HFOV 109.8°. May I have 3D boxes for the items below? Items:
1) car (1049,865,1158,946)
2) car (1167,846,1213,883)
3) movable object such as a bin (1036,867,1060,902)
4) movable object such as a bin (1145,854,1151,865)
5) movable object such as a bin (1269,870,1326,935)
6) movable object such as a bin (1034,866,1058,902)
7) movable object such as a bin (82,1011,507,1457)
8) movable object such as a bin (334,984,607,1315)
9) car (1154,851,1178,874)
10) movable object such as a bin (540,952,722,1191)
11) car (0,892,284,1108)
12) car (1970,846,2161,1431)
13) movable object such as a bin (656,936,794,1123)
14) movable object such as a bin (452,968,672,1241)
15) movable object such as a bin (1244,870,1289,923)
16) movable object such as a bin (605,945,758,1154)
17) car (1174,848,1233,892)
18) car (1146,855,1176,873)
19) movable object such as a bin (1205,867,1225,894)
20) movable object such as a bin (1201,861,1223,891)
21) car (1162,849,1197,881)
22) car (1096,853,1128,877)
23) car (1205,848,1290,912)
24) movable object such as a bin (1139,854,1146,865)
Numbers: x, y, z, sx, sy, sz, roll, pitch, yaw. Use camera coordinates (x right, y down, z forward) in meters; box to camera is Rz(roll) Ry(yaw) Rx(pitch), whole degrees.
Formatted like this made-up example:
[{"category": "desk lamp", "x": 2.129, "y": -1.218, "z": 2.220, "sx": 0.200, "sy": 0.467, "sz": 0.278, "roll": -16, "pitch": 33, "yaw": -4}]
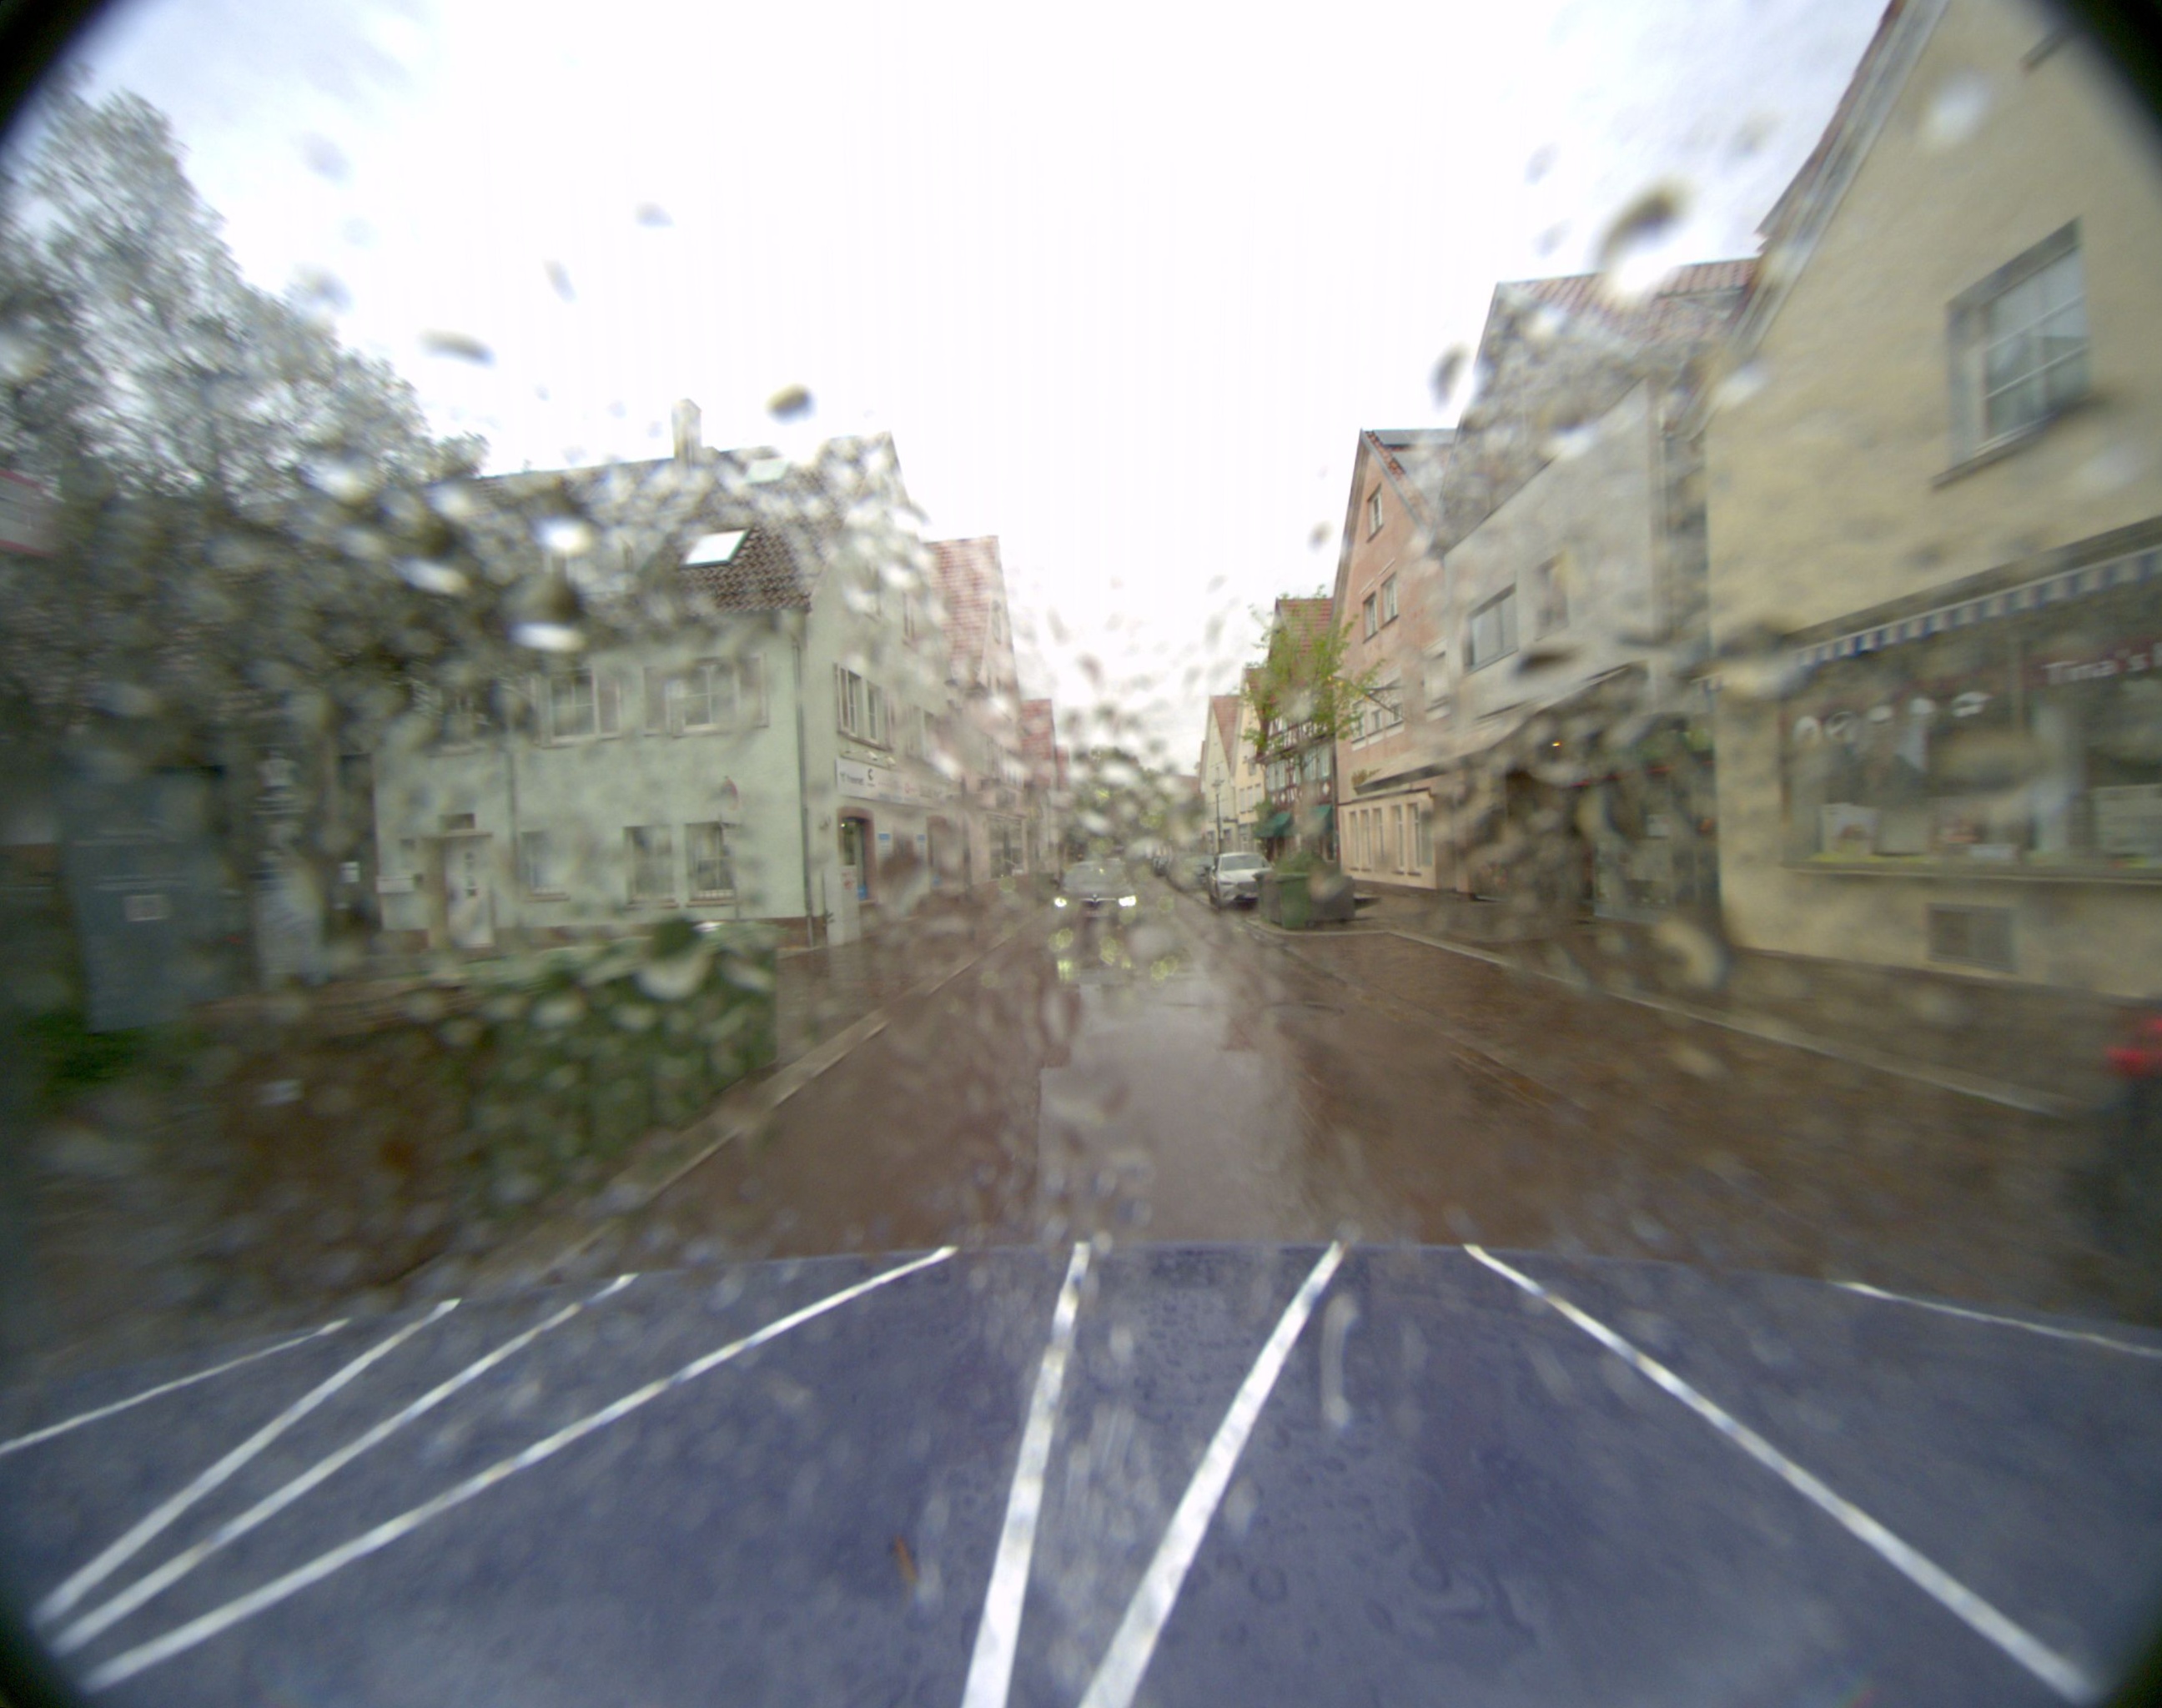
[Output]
[{"category": "car", "x": 0.356, "y": 0.999, "z": 16.680, "sx": 1.999, "sy": 1.398, "sz": 4.893, "roll": -2, "pitch": 0, "yaw": -2}, {"category": "car", "x": 5.530, "y": 0.490, "z": 39.071, "sx": 1.837, "sy": 1.665, "sz": 4.540, "roll": -2, "pitch": 1, "yaw": 2}, {"category": "movable object such as a bin", "x": -1.190, "y": 1.103, "z": 27.362, "sx": 0.720, "sy": 1.194, "sz": 0.573, "roll": -2, "pitch": 2, "yaw": 5}, {"category": "movable object such as a bin", "x": 7.703, "y": 0.643, "z": 87.403, "sx": 0.477, "sy": 1.162, "sz": 0.489, "roll": -1, "pitch": 2, "yaw": 30}, {"category": "movable object such as a bin", "x": 4.094, "y": 0.908, "z": 14.426, "sx": 0.817, "sy": 1.100, "sz": 0.610, "roll": -6, "pitch": 2, "yaw": -1}, {"category": "movable object such as a bin", "x": -1.237, "y": 1.054, "z": 26.654, "sx": 0.720, "sy": 1.194, "sz": 0.578, "roll": -2, "pitch": 2, "yaw": 5}, {"category": "movable object such as a bin", "x": -2.728, "y": 1.271, "z": 2.734, "sx": 0.679, "sy": 1.234, "sz": 0.731, "roll": -2, "pitch": 2, "yaw": 3}, {"category": "movable object such as a bin", "x": -2.670, "y": 1.264, "z": 3.386, "sx": 0.679, "sy": 1.243, "sz": 0.565, "roll": -2, "pitch": 2, "yaw": 3}, {"category": "car", "x": 6.366, "y": 0.627, "z": 57.336, "sx": 1.596, "sy": 1.537, "sz": 3.977, "roll": -2, "pitch": 1, "yaw": 5}, {"category": "movable object such as a bin", "x": -2.649, "y": 1.260, "z": 4.527, "sx": 0.679, "sy": 1.249, "sz": 0.542, "roll": -2, "pitch": 2, "yaw": 3}, {"category": "car", "x": -9.794, "y": 1.236, "z": 6.302, "sx": 1.819, "sy": 1.645, "sz": 4.369, "roll": -1, "pitch": 0, "yaw": 44}, {"category": "car", "x": 3.775, "y": 0.684, "z": 0.329, "sx": 1.999, "sy": 1.463, "sz": 3.999, "roll": -3, "pitch": 0, "yaw": -2}, {"category": "movable object such as a bin", "x": -2.625, "y": 1.274, "z": 5.669, "sx": 0.659, "sy": 1.231, "sz": 0.621, "roll": -2, "pitch": 2, "yaw": 3}, {"category": "movable object such as a bin", "x": -2.667, "y": 1.262, "z": 3.962, "sx": 0.679, "sy": 1.225, "sz": 0.565, "roll": -2, "pitch": 2, "yaw": 3}, {"category": "movable object such as a bin", "x": 4.133, "y": 0.944, "z": 16.996, "sx": 0.817, "sy": 1.100, "sz": 0.610, "roll": -2, "pitch": 2, "yaw": -1}, {"category": "movable object such as a bin", "x": -2.645, "y": 1.275, "z": 5.083, "sx": 0.659, "sy": 1.238, "sz": 0.542, "roll": -2, "pitch": 2, "yaw": 3}, {"category": "car", "x": 5.180, "y": 0.638, "z": 32.647, "sx": 1.838, "sy": 1.543, "sz": 4.281, "roll": -6, "pitch": 1, "yaw": 2}, {"category": "car", "x": 6.576, "y": 0.832, "z": 62.826, "sx": 1.806, "sy": 1.424, "sz": 4.627, "roll": -2, "pitch": -1, "yaw": -1}, {"category": "movable object such as a bin", "x": 4.959, "y": 0.969, "z": 28.094, "sx": 0.658, "sy": 0.950, "sz": 0.562, "roll": -2, "pitch": 2, "yaw": 6}, {"category": "movable object such as a bin", "x": 4.956, "y": 0.825, "z": 28.798, "sx": 0.749, "sy": 1.076, "sz": 0.763, "roll": -2, "pitch": 2, "yaw": 6}, {"category": "car", "x": 5.914, "y": 0.631, "z": 46.037, "sx": 1.775, "sy": 1.665, "sz": 4.480, "roll": -4, "pitch": 1, "yaw": 5}, {"category": "car", "x": 2.228, "y": 0.768, "z": 53.020, "sx": 1.998, "sy": 1.445, "sz": 4.000, "roll": -2, "pitch": 1, "yaw": 5}, {"category": "car", "x": 4.690, "y": 0.677, "z": 21.942, "sx": 1.831, "sy": 1.557, "sz": 4.000, "roll": -2, "pitch": 1, "yaw": 4}, {"category": "movable object such as a bin", "x": 7.125, "y": 0.640, "z": 88.083, "sx": 0.544, "sy": 1.143, "sz": 0.586, "roll": -1, "pitch": 2, "yaw": 30}]
